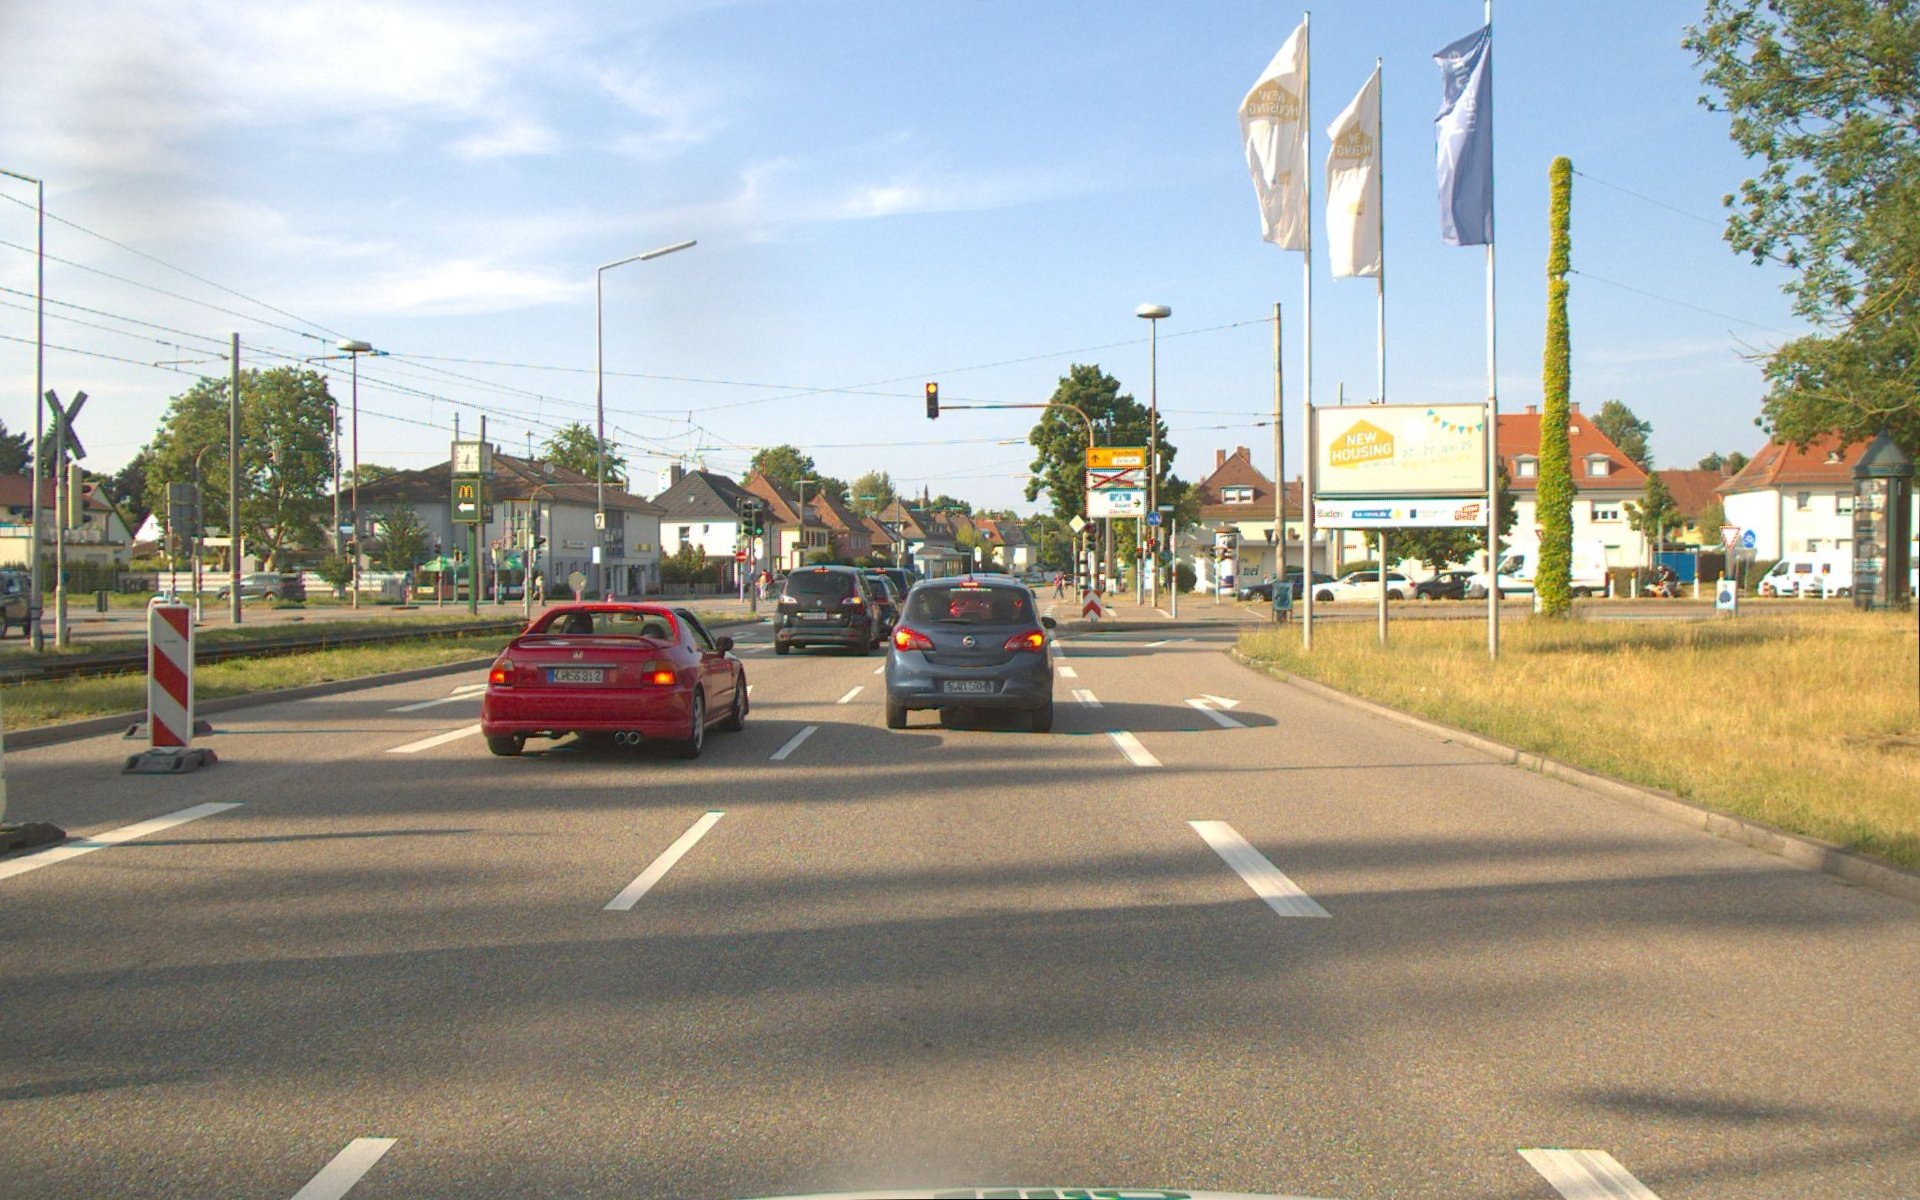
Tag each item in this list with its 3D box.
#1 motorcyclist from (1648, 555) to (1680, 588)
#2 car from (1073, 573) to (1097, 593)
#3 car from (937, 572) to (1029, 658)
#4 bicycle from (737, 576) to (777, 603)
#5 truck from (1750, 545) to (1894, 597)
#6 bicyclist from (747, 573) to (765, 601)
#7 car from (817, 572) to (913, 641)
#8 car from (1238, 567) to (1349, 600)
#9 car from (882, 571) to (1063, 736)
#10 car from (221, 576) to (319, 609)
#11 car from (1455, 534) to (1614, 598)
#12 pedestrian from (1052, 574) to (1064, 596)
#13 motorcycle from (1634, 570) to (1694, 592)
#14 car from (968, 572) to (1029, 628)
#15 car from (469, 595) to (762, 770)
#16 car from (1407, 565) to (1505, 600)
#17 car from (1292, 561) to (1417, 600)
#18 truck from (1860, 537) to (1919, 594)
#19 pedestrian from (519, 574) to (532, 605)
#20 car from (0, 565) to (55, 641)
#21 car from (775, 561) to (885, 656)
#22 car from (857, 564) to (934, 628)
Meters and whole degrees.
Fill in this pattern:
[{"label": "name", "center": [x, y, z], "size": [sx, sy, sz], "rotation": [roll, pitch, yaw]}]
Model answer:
[{"label": "motorcyclist", "center": [29.421, -1.186, 69.145], "size": [1.043, 1.375, 0.680], "rotation": [0, 1, 3]}, {"label": "car", "center": [9.037, -1.220, 119.471], "size": [1.639, 1.422, 4.002], "rotation": [1, 0, 4]}, {"label": "car", "center": [0.464, 0.243, 32.572], "size": [1.671, 1.579, 3.978], "rotation": [-1, 1, 1]}, {"label": "bicycle", "center": [-10.725, -0.552, 87.510], "size": [2.034, 1.371, 1.107], "rotation": [1, 0, -6]}, {"label": "truck", "center": [43.895, -1.502, 84.378], "size": [2.247, 2.568, 6.292], "rotation": [-1, 2, -31]}, {"label": "bicyclist", "center": [-10.771, -0.705, 87.497], "size": [0.867, 1.456, 1.135], "rotation": [1, 0, -5]}, {"label": "car", "center": [-2.181, 0.104, 39.126], "size": [1.664, 1.534, 4.556], "rotation": [0, 1, 4]}, {"label": "car", "center": [14.971, -0.735, 74.466], "size": [4.722, 1.436, 1.717], "rotation": [-1, 1, 4]}, {"label": "car", "center": [0.053, 0.465, 17.749], "size": [1.706, 1.531, 4.221], "rotation": [0, 1, -2]}, {"label": "car", "center": [-33.623, -0.372, 80.607], "size": [3.902, 1.512, 2.002], "rotation": [-1, 1, 8]}, {"label": "car", "center": [24.374, -1.420, 70.299], "size": [6.077, 2.628, 2.001], "rotation": [0, 1, 4]}, {"label": "pedestrian", "center": [6.756, -1.044, 113.846], "size": [0.737, 1.525, 0.828], "rotation": [1, 0, 7]}, {"label": "motorcycle", "center": [29.429, -0.802, 69.153], "size": [2.223, 0.881, 0.691], "rotation": [0, 1, 3]}, {"label": "car", "center": [1.074, -0.032, 45.970], "size": [1.622, 1.468, 4.015], "rotation": [-1, 1, 2]}, {"label": "car", "center": [-2.844, 0.621, 14.461], "size": [1.695, 1.227, 3.847], "rotation": [1, 1, 0]}, {"label": "car", "center": [22.120, -0.787, 73.807], "size": [3.903, 1.478, 1.717], "rotation": [-1, 1, 4]}, {"label": "car", "center": [16.817, -0.820, 70.699], "size": [4.987, 1.590, 1.841], "rotation": [-1, 1, 4]}, {"label": "truck", "center": [49.677, -1.775, 84.792], "size": [1.880, 2.904, 5.985], "rotation": [-1, 1, -42]}, {"label": "pedestrian", "center": [-23.234, -0.576, 88.423], "size": [0.501, 1.627, 0.540], "rotation": [0, 1, 3]}, {"label": "car", "center": [-27.505, 0.071, 46.677], "size": [1.959, 2.048, 5.342], "rotation": [-1, 1, -12]}, {"label": "car", "center": [-2.426, 0.114, 31.783], "size": [1.727, 1.700, 4.085], "rotation": [0, 1, 1]}, {"label": "car", "center": [-1.771, -0.143, 46.658], "size": [1.474, 1.680, 4.748], "rotation": [-1, 1, 6]}]
